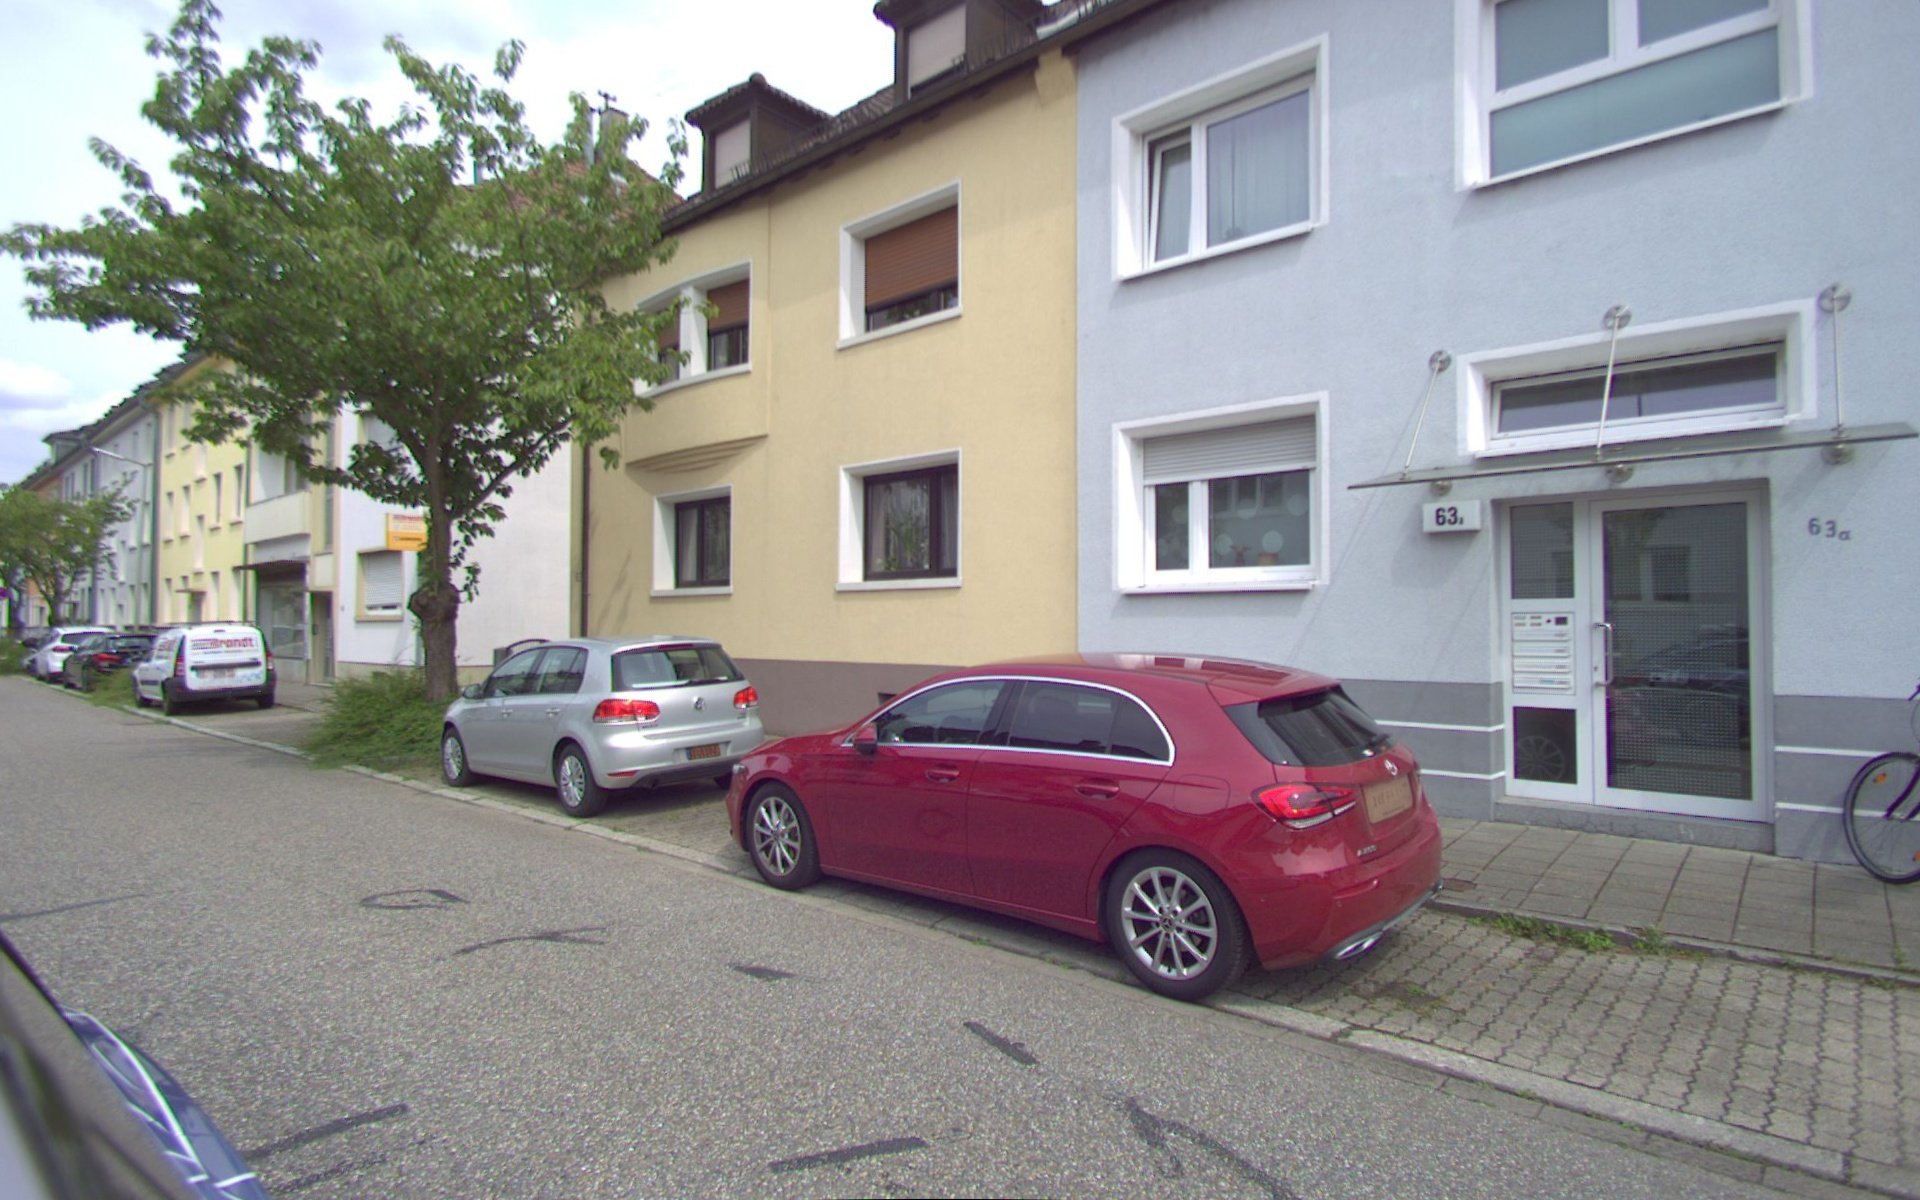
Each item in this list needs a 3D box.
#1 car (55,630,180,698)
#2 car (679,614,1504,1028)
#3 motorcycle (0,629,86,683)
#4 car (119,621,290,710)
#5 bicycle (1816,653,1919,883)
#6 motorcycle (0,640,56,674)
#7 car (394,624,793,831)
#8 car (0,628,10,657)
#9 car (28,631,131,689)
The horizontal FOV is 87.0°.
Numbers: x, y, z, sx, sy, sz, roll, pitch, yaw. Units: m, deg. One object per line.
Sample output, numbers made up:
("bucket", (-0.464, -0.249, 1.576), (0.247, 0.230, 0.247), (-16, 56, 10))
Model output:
("car", (-21.330, 1.550, 25.555), (4.811, 1.503, 1.771), (-1, -1, 42))
("car", (0.446, 0.897, 5.908), (4.511, 1.497, 1.857), (-2, -4, 42))
("motorcycle", (-29.505, 1.774, 32.220), (2.438, 1.689, 0.939), (0, -3, -1))
("car", (-15.169, 1.269, 20.236), (4.381, 1.593, 1.898), (-2, -4, 42))
("bicycle", (5.479, 0.863, 5.007), (1.872, 1.162, 0.485), (-2, -4, 41))
("motorcycle", (-34.842, 2.111, 37.519), (0.591, 1.201, 1.902), (0, -3, 15))
("car", (-3.676, 1.022, 9.730), (4.274, 1.402, 1.753), (-2, 3, 43))
("car", (-51.307, 2.252, 52.991), (4.117, 1.495, 1.818), (-1, 0, 40))
("car", (-25.996, 1.718, 29.825), (4.254, 1.568, 1.738), (-2, -3, 42))
